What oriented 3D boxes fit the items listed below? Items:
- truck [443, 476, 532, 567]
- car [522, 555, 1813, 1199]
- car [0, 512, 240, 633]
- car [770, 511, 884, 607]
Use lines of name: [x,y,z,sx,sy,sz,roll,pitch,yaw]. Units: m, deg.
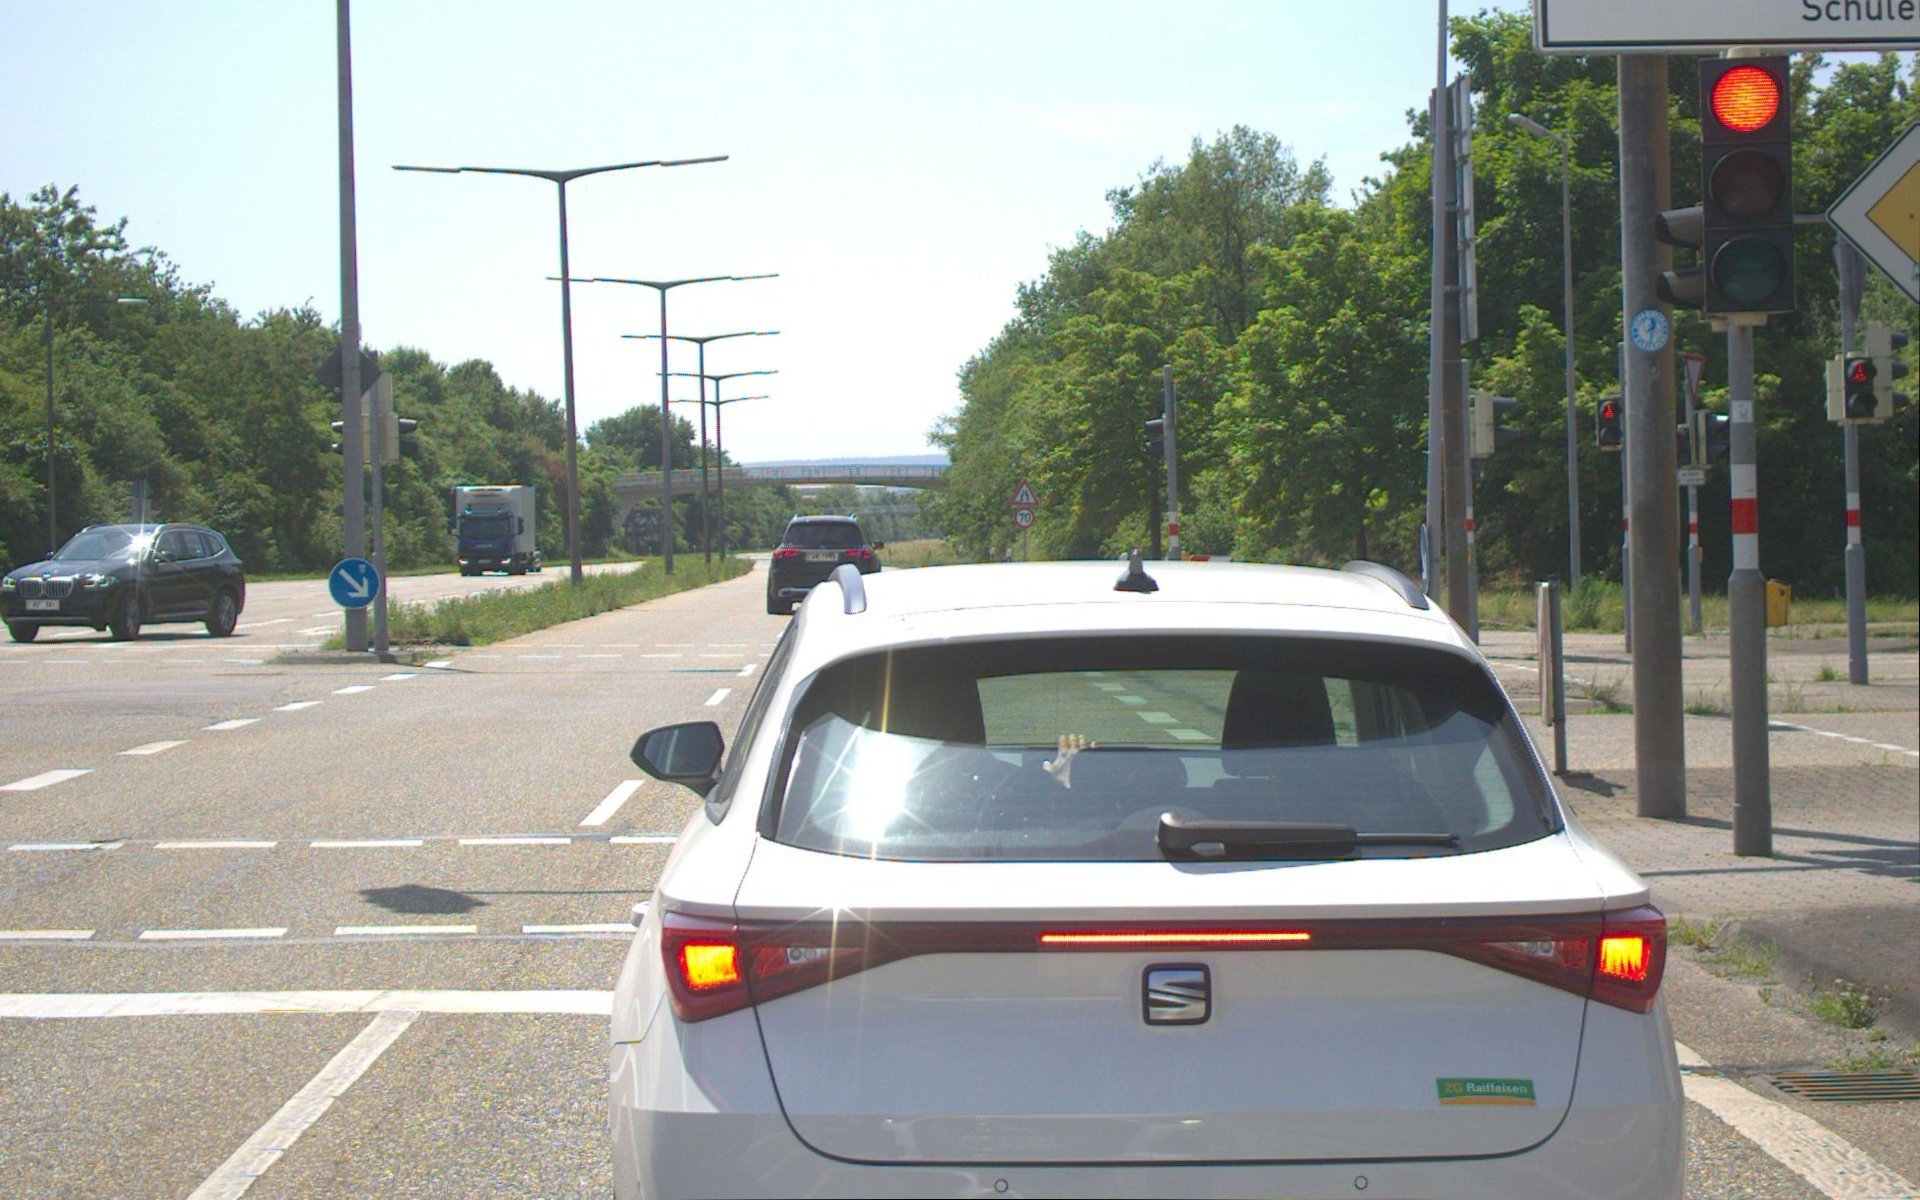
truck: [-18.943,-3.156,138.247,2.687,3.558,7.268,0,1,-1]
car: [0.257,0.644,6.497,1.734,1.423,3.695,1,1,-1]
car: [-12.263,-0.429,50.176,1.708,1.657,4.220,-1,1,15]
car: [-2.444,-0.783,63.896,1.855,1.703,4.000,-1,1,1]
